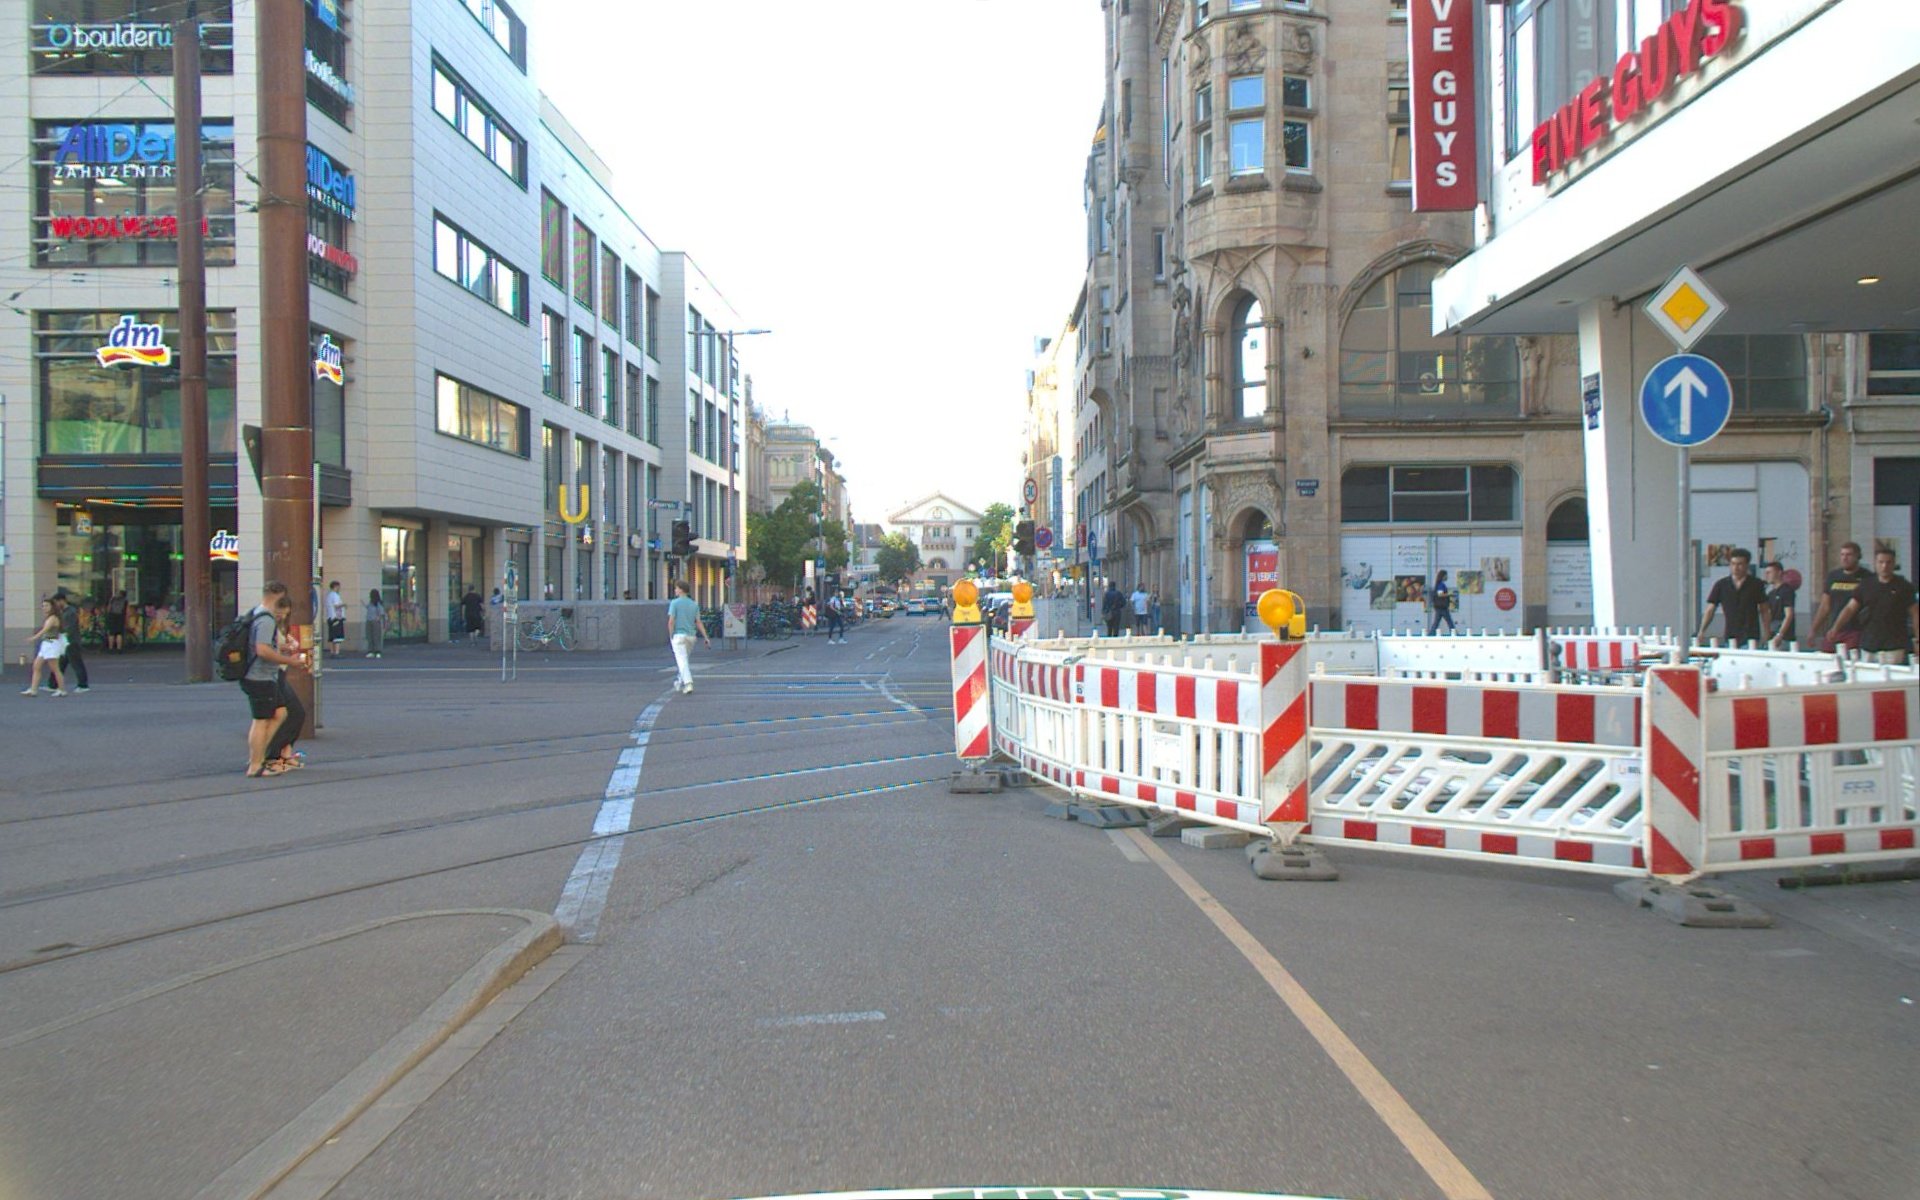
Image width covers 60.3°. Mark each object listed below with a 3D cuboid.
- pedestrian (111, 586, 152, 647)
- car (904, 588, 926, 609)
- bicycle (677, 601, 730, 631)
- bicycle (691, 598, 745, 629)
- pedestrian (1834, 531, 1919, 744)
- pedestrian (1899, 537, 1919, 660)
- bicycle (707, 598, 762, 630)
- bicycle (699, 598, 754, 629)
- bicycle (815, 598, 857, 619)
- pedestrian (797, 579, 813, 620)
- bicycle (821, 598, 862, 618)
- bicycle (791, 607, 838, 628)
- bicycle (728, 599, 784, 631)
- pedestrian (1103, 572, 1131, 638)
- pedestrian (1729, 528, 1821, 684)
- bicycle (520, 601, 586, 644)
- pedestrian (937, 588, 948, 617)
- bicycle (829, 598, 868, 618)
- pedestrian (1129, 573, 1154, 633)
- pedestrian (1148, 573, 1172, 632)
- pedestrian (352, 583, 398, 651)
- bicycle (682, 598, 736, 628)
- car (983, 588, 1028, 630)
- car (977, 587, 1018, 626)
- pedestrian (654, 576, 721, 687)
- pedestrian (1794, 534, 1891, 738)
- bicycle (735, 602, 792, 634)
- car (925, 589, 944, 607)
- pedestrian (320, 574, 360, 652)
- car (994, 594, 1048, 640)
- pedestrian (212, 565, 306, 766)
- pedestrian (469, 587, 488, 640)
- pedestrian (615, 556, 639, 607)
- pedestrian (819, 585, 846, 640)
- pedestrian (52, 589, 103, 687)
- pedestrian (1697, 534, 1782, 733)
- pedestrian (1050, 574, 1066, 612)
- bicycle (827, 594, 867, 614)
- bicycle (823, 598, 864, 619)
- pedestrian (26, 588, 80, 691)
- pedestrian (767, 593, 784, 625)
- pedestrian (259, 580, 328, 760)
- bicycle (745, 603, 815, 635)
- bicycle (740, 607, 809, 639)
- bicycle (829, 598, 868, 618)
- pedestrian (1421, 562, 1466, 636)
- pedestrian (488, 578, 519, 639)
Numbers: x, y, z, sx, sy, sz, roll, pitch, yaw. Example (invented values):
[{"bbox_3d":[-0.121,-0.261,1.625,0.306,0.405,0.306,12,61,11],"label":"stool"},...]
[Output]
[{"bbox_3d":[-21.410,0.422,42.751,0.560,1.553,0.791,1,0,12],"label":"pedestrian"},{"bbox_3d":[-4.157,-0.136,153.962,1.953,1.937,4.000,1,0,0],"label":"car"},{"bbox_3d":[-9.922,0.621,64.058,1.945,1.141,0.553,1,0,-29],"label":"bicycle"},{"bbox_3d":[-9.129,0.503,62.521,1.945,1.141,0.553,1,0,-29],"label":"bicycle"},{"bbox_3d":[9.082,0.359,16.333,0.695,2.049,0.468,1,0,42],"label":"pedestrian"},{"bbox_3d":[14.070,-0.016,23.737,0.760,1.765,0.713,1,0,-1],"label":"pedestrian"},{"bbox_3d":[-8.344,0.516,61.252,1.945,1.141,0.553,1,0,-29],"label":"bicycle"},{"bbox_3d":[-8.739,0.509,61.893,1.945,1.141,0.553,1,0,-29],"label":"bicycle"},{"bbox_3d":[-6.436,0.426,85.937,2.103,1.047,0.640,-1,0,2],"label":"bicycle"},{"bbox_3d":[-6.961,-0.019,74.382,0.645,1.855,0.527,-1,0,-10],"label":"pedestrian"},{"bbox_3d":[-6.256,0.424,87.457,2.103,1.047,0.640,-1,0,2],"label":"bicycle"},{"bbox_3d":[-6.872,0.836,78.107,2.103,0.970,0.640,-1,0,2],"label":"bicycle"},{"bbox_3d":[-7.366,0.532,59.681,1.945,1.141,0.553,1,0,-29],"label":"bicycle"},{"bbox_3d":[4.112,0.126,43.306,0.612,1.719,0.671,-1,0,-2],"label":"pedestrian"},{"bbox_3d":[9.638,0.073,19.579,0.709,1.800,0.668,1,0,-13],"label":"pedestrian"},{"bbox_3d":[-10.998,0.610,44.690,1.661,1.141,0.451,1,0,2],"label":"bicycle"},{"bbox_3d":[-1.132,0.150,106.628,0.589,1.855,0.450,-1,0,-16],"label":"pedestrian"},{"bbox_3d":[-6.209,0.448,92.133,2.103,1.047,0.640,-1,0,2],"label":"bicycle"},{"bbox_3d":[5.234,0.085,47.721,0.612,1.719,0.671,-1,0,-2],"label":"pedestrian"},{"bbox_3d":[5.851,0.072,48.389,0.612,1.719,0.626,-1,0,-2],"label":"pedestrian"},{"bbox_3d":[-14.707,0.422,41.602,0.750,1.688,0.817,1,0,14],"label":"pedestrian"},{"bbox_3d":[-9.575,0.496,63.125,1.945,1.141,0.553,1,0,-29],"label":"bicycle"},{"bbox_3d":[1.771,0.329,65.939,1.644,1.574,3.673,-2,0,0],"label":"car"},{"bbox_3d":[1.607,0.271,72.643,1.644,1.641,4.028,-2,0,0],"label":"car"},{"bbox_3d":[-4.472,0.508,27.155,0.847,1.792,0.768,1,0,12],"label":"pedestrian"},{"bbox_3d":[9.098,0.358,17.052,0.767,2.049,0.514,1,0,42],"label":"pedestrian"},{"bbox_3d":[-7.007,0.649,58.932,1.945,1.141,0.553,1,0,-29],"label":"bicycle"},{"bbox_3d":[-2.718,-0.210,176.285,1.953,1.937,4.000,1,0,0],"label":"car"},{"bbox_3d":[-15.168,0.323,40.470,0.560,1.887,0.817,1,0,12],"label":"pedestrian"},{"bbox_3d":[2.013,0.547,55.452,1.644,1.449,3.673,1,0,0],"label":"car"},{"bbox_3d":[-6.185,0.558,14.622,0.733,1.730,0.606,-1,0,-22],"label":"pedestrian"},{"bbox_3d":[-14.158,0.383,48.652,0.382,1.541,0.505,-1,0,-1],"label":"pedestrian"},{"bbox_3d":[-11.241,-0.622,55.854,0.667,1.710,0.600,1,0,-3],"label":"pedestrian"},{"bbox_3d":[-4.124,0.389,53.622,0.818,1.751,0.681,-1,0,-8],"label":"pedestrian"},{"bbox_3d":[-15.578,0.655,29.211,0.517,1.703,0.651,-1,0,1],"label":"pedestrian"},{"bbox_3d":[8.228,0.346,17.466,0.695,2.049,0.468,1,0,42],"label":"pedestrian"},{"bbox_3d":[4.555,-0.331,77.003,0.631,1.719,0.671,-1,0,-2],"label":"pedestrian"},{"bbox_3d":[-6.097,0.197,89.603,2.103,1.047,0.640,-1,0,2],"label":"bicycle"},{"bbox_3d":[-6.095,0.428,86.728,2.103,1.047,0.640,-1,0,2],"label":"bicycle"},{"bbox_3d":[-15.202,0.656,27.741,0.517,1.703,0.651,-1,0,1],"label":"pedestrian"},{"bbox_3d":[-9.148,0.458,82.057,0.736,1.556,0.485,-1,0,-1],"label":"pedestrian"},{"bbox_3d":[-6.137,0.631,15.255,0.561,1.621,0.445,-1,0,-21],"label":"pedestrian"},{"bbox_3d":[-7.583,0.796,69.749,2.851,1.277,0.797,-1,0,-26],"label":"bicycle"},{"bbox_3d":[-7.936,0.980,70.869,2.851,1.277,0.797,-1,0,-26],"label":"bicycle"},{"bbox_3d":[-6.156,0.451,91.408,2.103,1.047,0.640,-1,0,2],"label":"bicycle"},{"bbox_3d":[10.903,-0.015,37.296,0.803,1.639,0.713,1,0,-1],"label":"pedestrian"},{"bbox_3d":[-13.568,0.258,49.192,0.766,1.782,0.600,1,0,-3],"label":"pedestrian"}]
